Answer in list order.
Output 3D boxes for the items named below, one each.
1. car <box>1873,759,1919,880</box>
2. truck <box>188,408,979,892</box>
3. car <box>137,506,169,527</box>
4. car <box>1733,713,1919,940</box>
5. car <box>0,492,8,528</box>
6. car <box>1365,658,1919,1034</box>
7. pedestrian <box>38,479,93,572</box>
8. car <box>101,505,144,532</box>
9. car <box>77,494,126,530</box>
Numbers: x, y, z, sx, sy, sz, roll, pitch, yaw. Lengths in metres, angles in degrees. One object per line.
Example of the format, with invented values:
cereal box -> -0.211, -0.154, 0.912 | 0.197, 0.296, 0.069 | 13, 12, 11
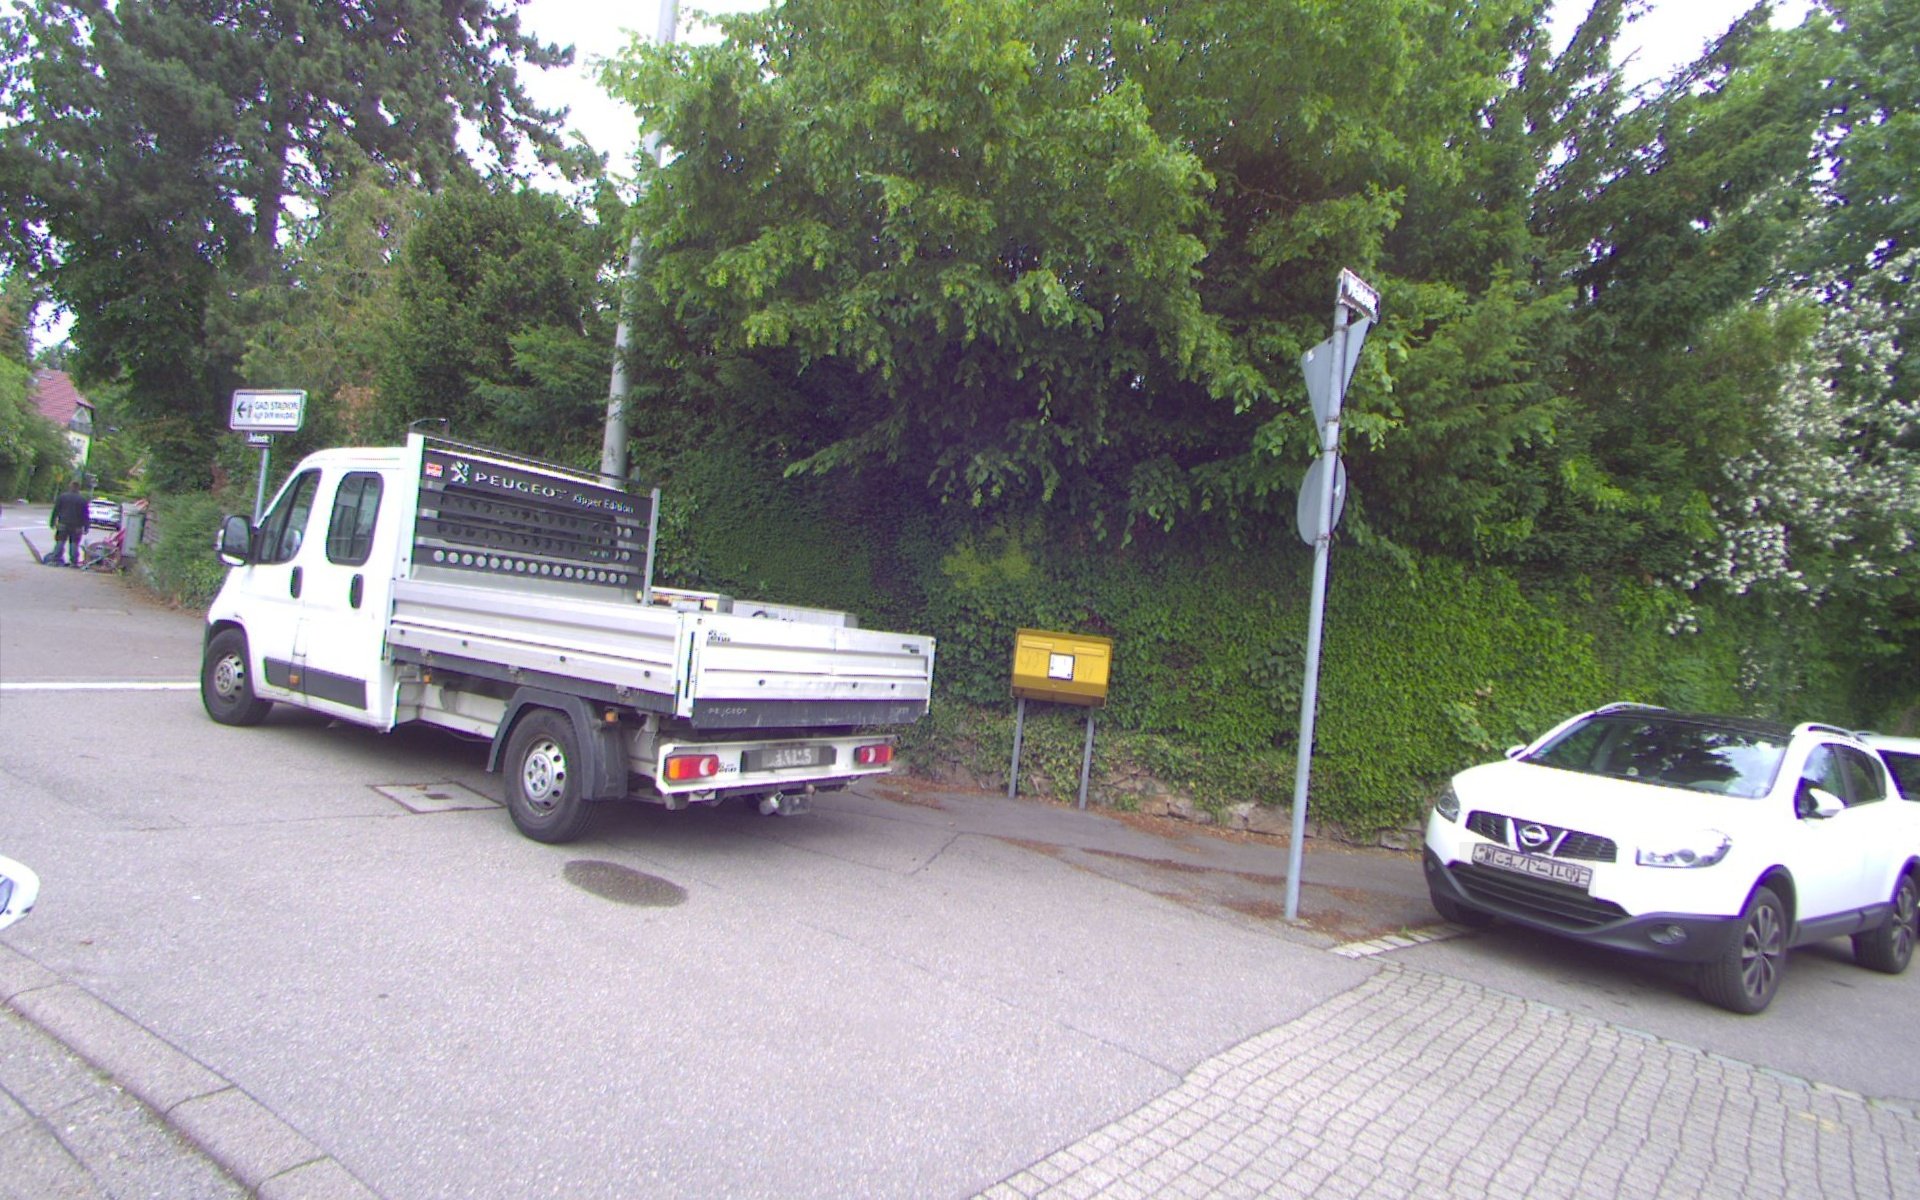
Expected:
car -> 13.847, 3.019, 13.415 | 4.040, 1.440, 1.781 | 8, -2, -38
truck -> -2.933, 0.083, 7.172 | 5.631, 2.270, 2.211 | 6, -2, 34
car -> -67.764, -7.025, 84.504 | 1.684, 1.448, 3.714 | 7, 0, -34
car -> 9.046, 2.114, 9.482 | 4.041, 1.641, 1.781 | 9, -3, -38
car -> -37.907, -3.583, 38.061 | 1.928, 1.420, 4.697 | 9, -1, -35
car -> 4.767, 1.469, 6.669 | 4.098, 1.641, 1.783 | 9, -2, -34
pedestrian -> -19.606, -1.633, 22.052 | 0.549, 1.929, 0.597 | 7, -1, 32
car -> -58.335, -5.655, 70.127 | 1.790, 1.545, 4.697 | 7, 0, -36
car -> -50.222, -5.154, 58.898 | 1.798, 1.775, 4.441 | 7, 0, -37
